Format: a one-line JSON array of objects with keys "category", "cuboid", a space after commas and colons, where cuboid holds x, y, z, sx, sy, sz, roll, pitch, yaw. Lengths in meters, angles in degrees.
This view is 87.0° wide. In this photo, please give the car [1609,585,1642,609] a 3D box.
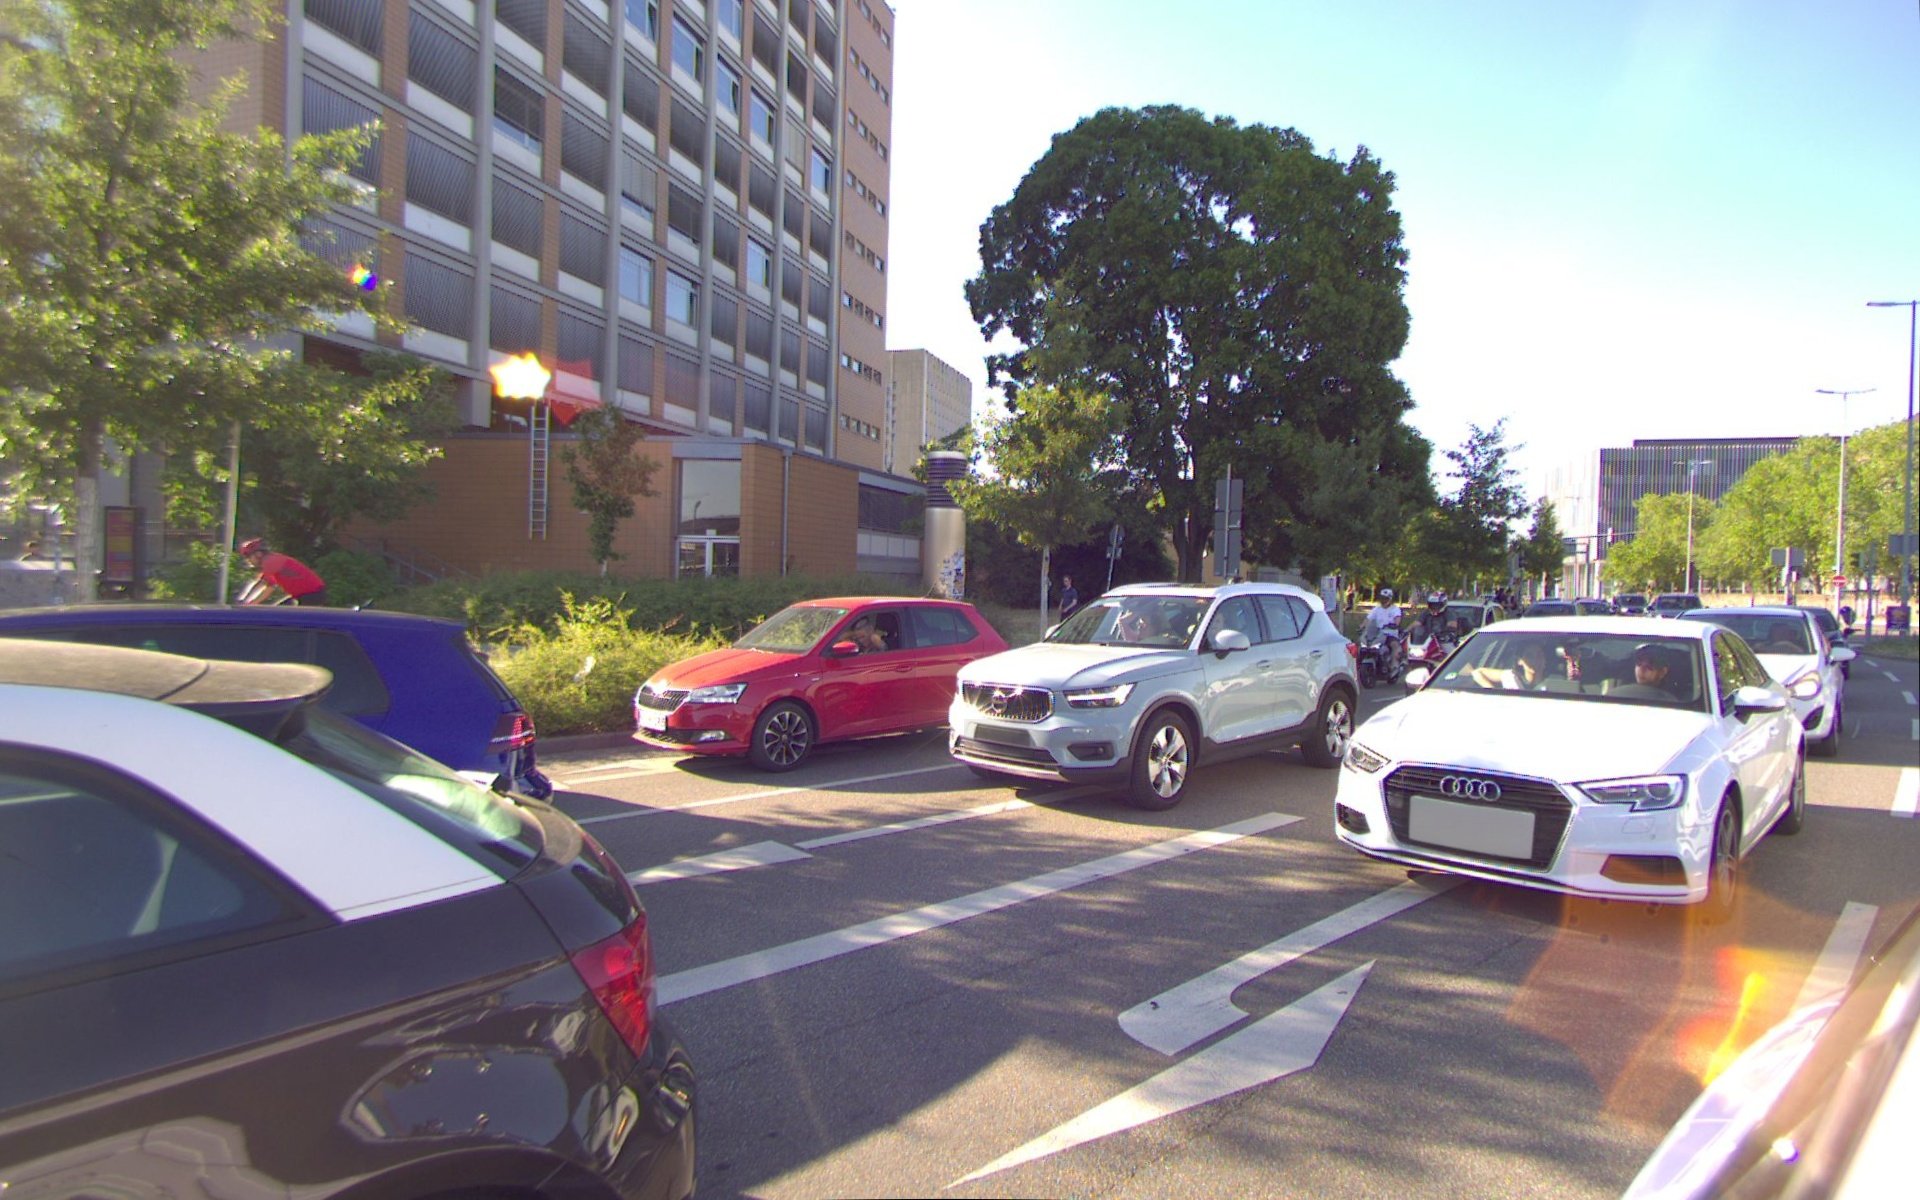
[{"category": "car", "cuboid": [53.982, -0.237, 82.128, 1.863, 1.838, 3.959, 2, 1, 29]}]

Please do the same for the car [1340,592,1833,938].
[{"category": "car", "cuboid": [3.958, 0.675, 6.124, 3.769, 1.422, 1.625, -1, 1, -43]}]

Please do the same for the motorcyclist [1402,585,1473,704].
[{"category": "motorcyclist", "cuboid": [6.652, 0.594, 14.107, 0.709, 1.610, 0.679, 0, 0, 45]}]

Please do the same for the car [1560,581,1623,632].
[{"category": "car", "cuboid": [24.885, 0.224, 39.822, 1.867, 1.838, 3.950, 2, 1, 35]}]

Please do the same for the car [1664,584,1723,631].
[{"category": "car", "cuboid": [30.552, 0.279, 42.255, 1.867, 1.838, 3.950, 2, 1, 35]}]

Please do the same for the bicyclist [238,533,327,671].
[{"category": "bicyclist", "cuboid": [-8.095, 0.016, 12.102, 0.855, 1.580, 0.617, 0, 0, -35]}]

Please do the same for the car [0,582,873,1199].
[{"category": "car", "cuboid": [-2.163, 0.700, 1.132, 3.930, 1.422, 1.626, -1, 1, -41]}]

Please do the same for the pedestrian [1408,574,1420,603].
[{"category": "pedestrian", "cuboid": [24.401, -0.598, 54.407, 0.543, 1.549, 0.598, 0, 0, 30]}]

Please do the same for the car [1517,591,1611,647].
[{"category": "car", "cuboid": [18.452, 0.525, 30.867, 1.740, 1.564, 3.940, 2, 2, 42]}]

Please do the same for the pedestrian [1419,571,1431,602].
[{"category": "pedestrian", "cuboid": [24.875, -0.727, 54.109, 0.543, 1.627, 0.598, 0, 0, 30]}]

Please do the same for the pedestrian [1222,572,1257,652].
[{"category": "pedestrian", "cuboid": [6.761, 0.278, 24.474, 0.681, 1.910, 0.465, 0, 0, -24]}]

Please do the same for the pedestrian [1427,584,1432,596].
[{"category": "pedestrian", "cuboid": [60.868, -1.284, 131.102, 0.477, 1.504, 0.409, 1, 1, -41]}]

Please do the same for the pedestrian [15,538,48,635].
[{"category": "pedestrian", "cuboid": [-17.139, -0.251, 18.678, 0.441, 1.754, 0.372, 0, 0, 35]}]

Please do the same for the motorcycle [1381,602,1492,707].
[{"category": "motorcycle", "cuboid": [6.672, 0.711, 14.119, 0.716, 1.321, 2.199, 0, 0, 44]}]

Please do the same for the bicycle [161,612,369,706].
[{"category": "bicycle", "cuboid": [-8.228, 0.661, 12.066, 1.996, 0.975, 0.660, -1, 2, -35]}]

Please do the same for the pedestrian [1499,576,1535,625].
[{"category": "pedestrian", "cuboid": [23.724, 0.025, 43.078, 1.137, 2.039, 1.268, 0, 0, 39]}]

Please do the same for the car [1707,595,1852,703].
[{"category": "car", "cuboid": [13.125, 0.673, 16.124, 1.622, 1.478, 3.981, 0, 1, 42]}]

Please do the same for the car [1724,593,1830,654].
[{"category": "car", "cuboid": [25.419, 0.668, 31.625, 1.730, 1.727, 3.963, 2, 1, 27]}]

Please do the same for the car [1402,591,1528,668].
[{"category": "car", "cuboid": [11.463, 0.593, 22.851, 1.738, 1.543, 3.944, 2, 2, 39]}]

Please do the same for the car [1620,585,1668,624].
[{"category": "car", "cuboid": [34.018, 0.202, 50.329, 1.867, 1.838, 3.950, 2, 1, 35]}]

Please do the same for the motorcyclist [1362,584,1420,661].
[{"category": "motorcyclist", "cuboid": [7.612, 0.384, 17.873, 0.716, 1.321, 0.724, 0, 0, 45]}]

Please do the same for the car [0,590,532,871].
[{"category": "car", "cuboid": [-5.147, 0.665, 6.104, 4.433, 1.422, 1.726, -1, 1, -42]}]

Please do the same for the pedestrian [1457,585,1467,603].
[{"category": "pedestrian", "cuboid": [56.949, -0.683, 114.785, 0.828, 2.039, 1.061, 0, 0, 19]}]

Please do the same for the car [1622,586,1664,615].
[{"category": "car", "cuboid": [44.394, 0.005, 65.857, 1.863, 1.838, 3.959, 2, 1, 29]}]

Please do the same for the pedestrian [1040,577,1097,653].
[{"category": "pedestrian", "cuboid": [2.552, 0.328, 23.799, 1.005, 1.742, 0.873, 0, 0, 39]}]

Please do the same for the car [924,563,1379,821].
[{"category": "car", "cuboid": [1.787, 0.555, 8.464, 4.153, 1.641, 1.625, -1, 1, -43]}]

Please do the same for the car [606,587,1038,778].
[{"category": "car", "cuboid": [-1.179, 0.619, 9.849, 3.974, 1.478, 1.625, -1, 1, -43]}]

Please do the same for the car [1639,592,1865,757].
[{"category": "car", "cuboid": [8.886, 0.662, 11.229, 1.623, 1.478, 3.979, 0, 1, 43]}]

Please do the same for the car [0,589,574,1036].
[{"category": "car", "cuboid": [-3.701, 0.682, 3.768, 3.930, 1.422, 1.626, -1, 1, -41]}]

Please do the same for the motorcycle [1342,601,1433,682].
[{"category": "motorcycle", "cuboid": [7.537, 0.688, 17.800, 0.716, 1.321, 2.199, 0, 0, 44]}]

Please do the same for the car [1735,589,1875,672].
[{"category": "car", "cuboid": [18.197, 0.574, 21.985, 1.733, 1.564, 3.955, 2, 1, 32]}]

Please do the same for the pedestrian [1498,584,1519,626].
[{"category": "pedestrian", "cuboid": [21.195, 0.176, 39.075, 0.593, 1.615, 0.586, 0, 0, 41]}]
